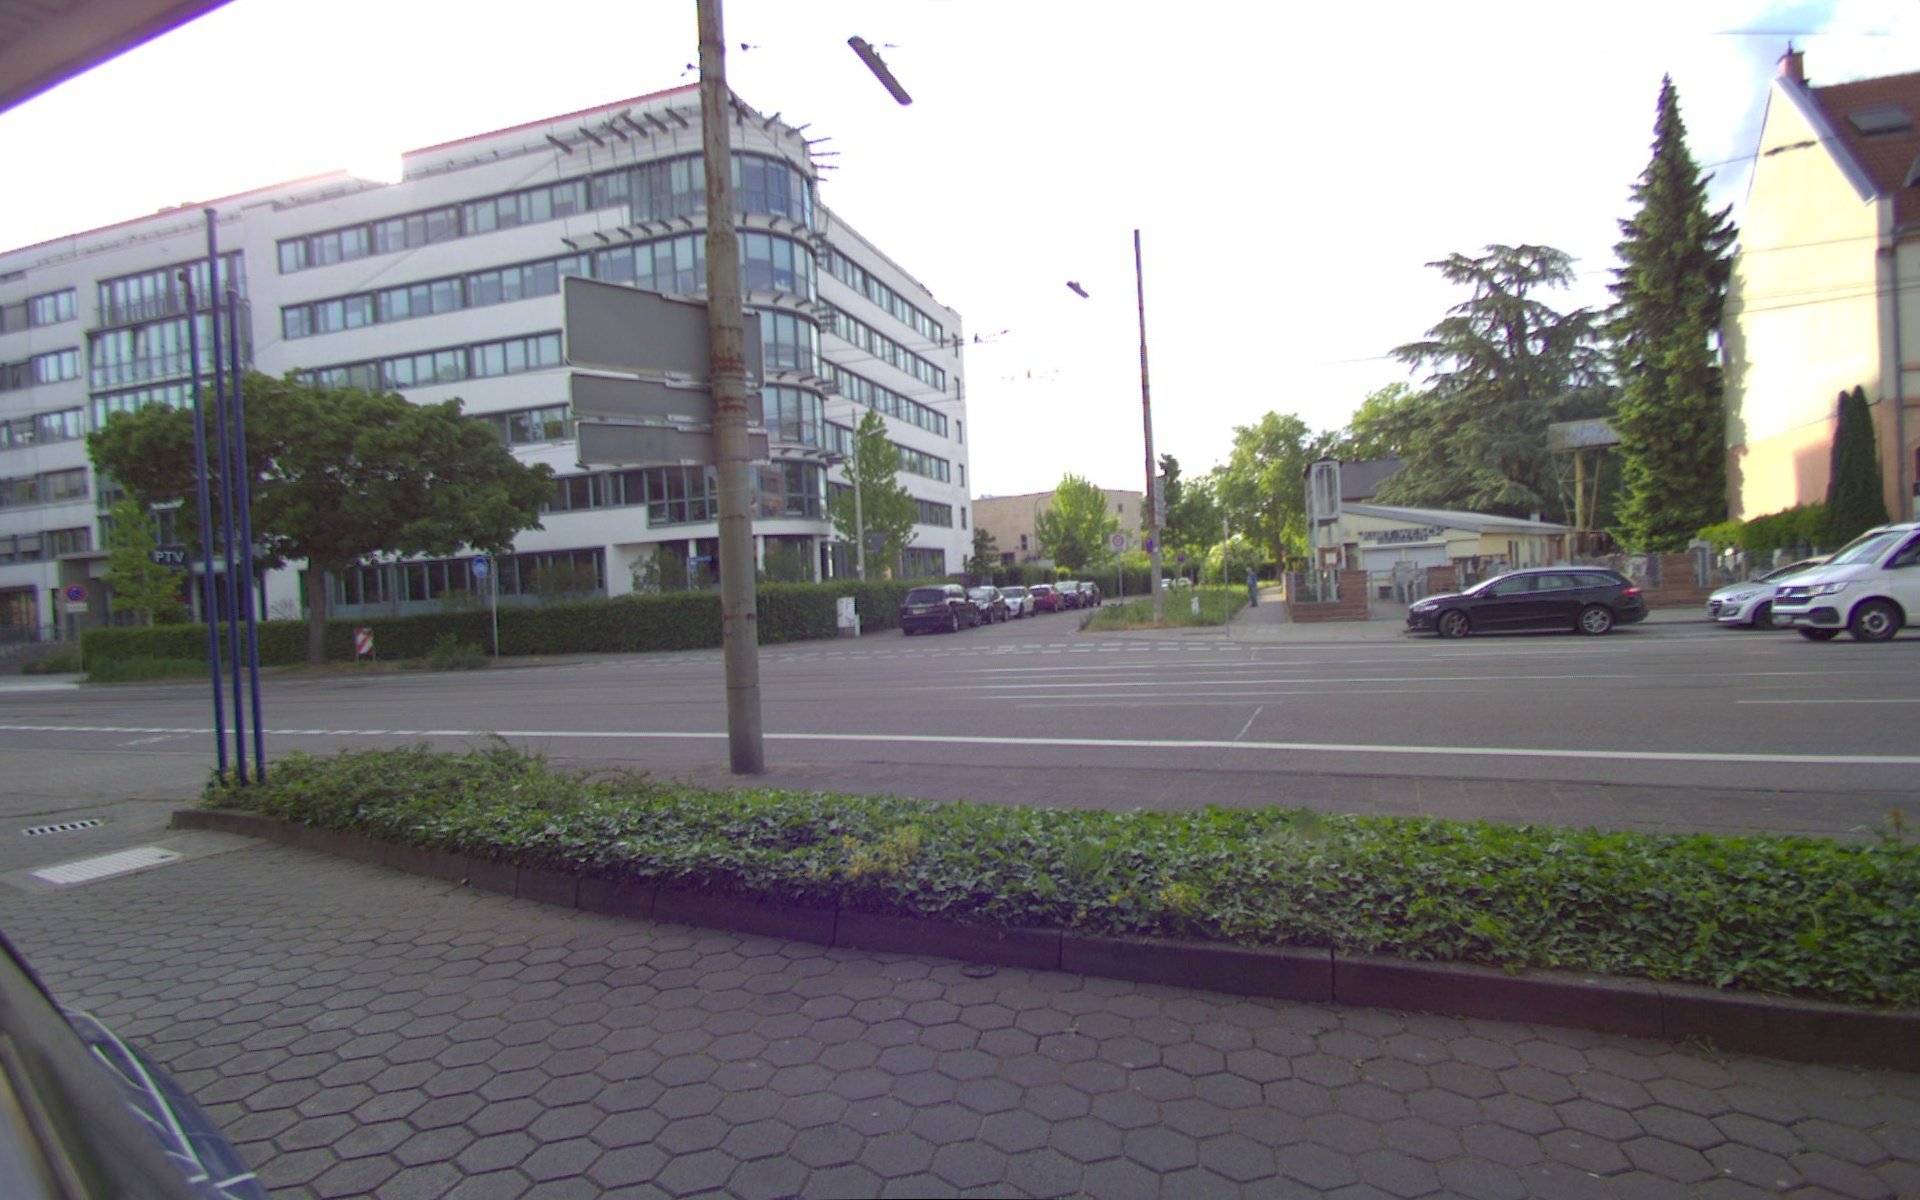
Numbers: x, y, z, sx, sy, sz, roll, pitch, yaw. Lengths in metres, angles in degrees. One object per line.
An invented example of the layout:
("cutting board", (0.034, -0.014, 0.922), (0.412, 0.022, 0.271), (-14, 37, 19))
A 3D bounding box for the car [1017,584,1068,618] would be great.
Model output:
("car", (4.290, 0.023, 52.360), (1.773, 1.552, 4.018), (-4, 0, 17))

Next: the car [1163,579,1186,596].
("car", (22.570, -1.294, 106.311), (1.774, 1.653, 4.060), (-4, 0, 19))

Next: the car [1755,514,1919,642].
("car", (16.562, -0.454, 16.738), (4.846, 1.983, 1.990), (-3, 0, 16))

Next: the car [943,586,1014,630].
("car", (0.801, 0.288, 40.894), (1.773, 1.565, 4.083), (-4, 0, 17))

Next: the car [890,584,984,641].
("car", (-0.720, 0.380, 35.537), (1.962, 1.625, 4.411), (-4, 2, 17))

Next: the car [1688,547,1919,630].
("car", (18.494, -0.259, 21.498), (4.459, 1.486, 1.986), (-4, 0, 22))

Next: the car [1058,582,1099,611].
("car", (7.376, -0.233, 62.672), (1.773, 1.653, 4.064), (-4, 0, 17))

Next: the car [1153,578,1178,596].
("car", (20.431, -1.266, 100.613), (1.774, 1.653, 4.060), (-4, 0, 19))

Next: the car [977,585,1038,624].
("car", (2.209, 0.175, 45.756), (1.773, 1.565, 4.083), (-4, 0, 17))

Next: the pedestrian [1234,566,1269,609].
("pedestrian", (12.714, -0.530, 44.155), (0.988, 1.843, 1.096), (-1, 0, -28))

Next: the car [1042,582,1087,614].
("car", (5.985, -0.136, 57.661), (1.773, 1.653, 4.064), (-4, 0, 17))

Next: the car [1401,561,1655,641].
("car", (12.918, 0.042, 23.415), (4.791, 1.507, 1.986), (-3, 0, 22))
